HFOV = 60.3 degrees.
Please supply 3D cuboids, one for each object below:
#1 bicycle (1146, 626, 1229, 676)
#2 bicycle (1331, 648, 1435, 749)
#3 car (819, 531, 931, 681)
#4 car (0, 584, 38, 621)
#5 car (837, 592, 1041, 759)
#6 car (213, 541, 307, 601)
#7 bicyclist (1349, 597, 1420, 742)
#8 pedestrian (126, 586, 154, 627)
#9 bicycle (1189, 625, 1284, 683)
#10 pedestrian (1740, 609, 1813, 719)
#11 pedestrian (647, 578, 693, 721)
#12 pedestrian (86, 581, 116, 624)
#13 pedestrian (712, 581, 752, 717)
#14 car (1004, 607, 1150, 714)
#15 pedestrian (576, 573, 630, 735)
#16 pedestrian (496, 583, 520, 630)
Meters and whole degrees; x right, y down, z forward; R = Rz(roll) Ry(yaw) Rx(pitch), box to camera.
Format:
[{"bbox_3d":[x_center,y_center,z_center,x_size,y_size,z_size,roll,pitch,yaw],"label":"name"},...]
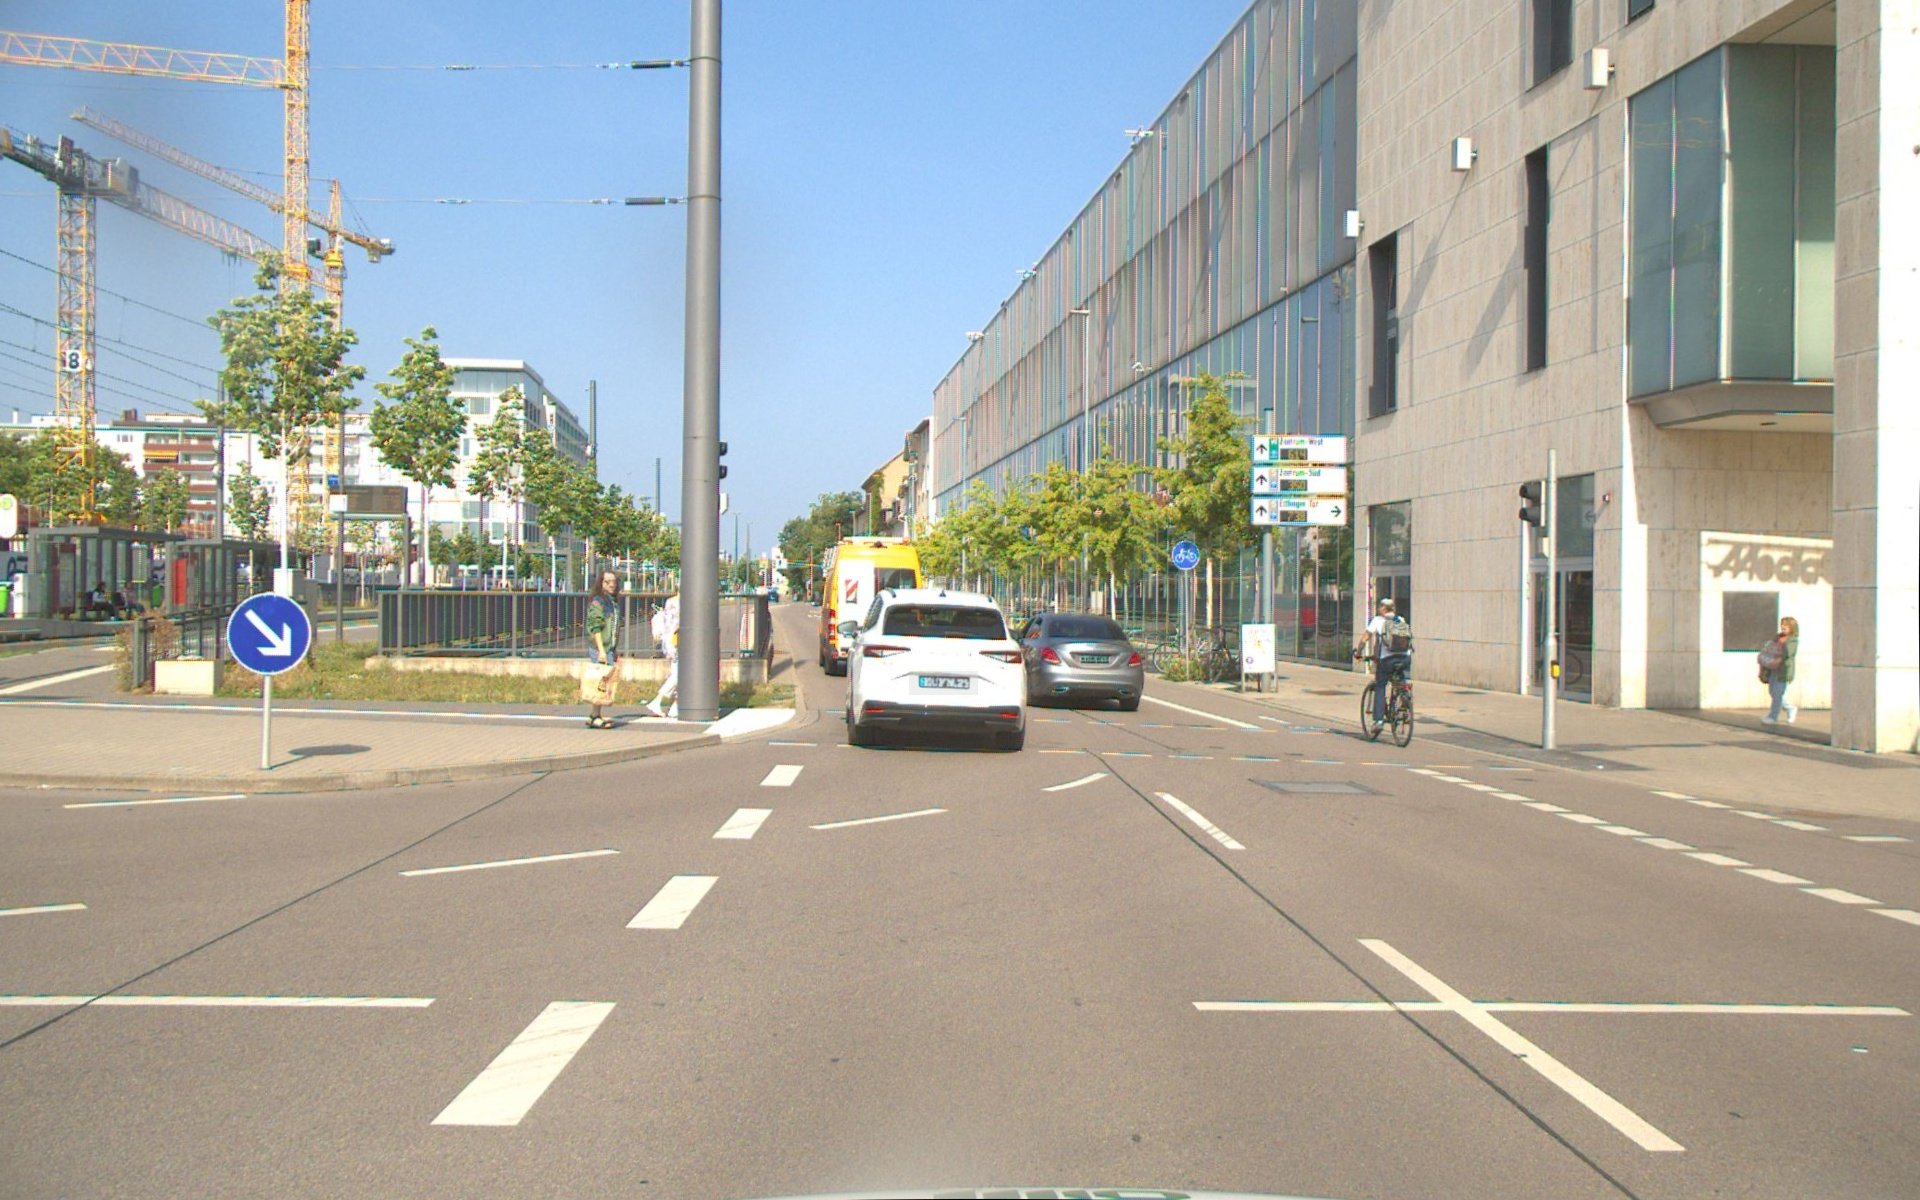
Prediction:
[{"bbox_3d":[5.301,1.178,38.509,1.841,1.129,0.490,1,0,-5],"label":"bicycle"},{"bbox_3d":[5.295,1.210,20.825,0.648,1.137,2.049,0,0,-4],"label":"bicycle"},{"bbox_3d":[-1.846,0.083,34.226,1.981,2.844,5.393,1,1,-6],"label":"car"},{"bbox_3d":[-39.768,0.083,68.462,1.566,1.489,3.429,1,0,-6],"label":"car"},{"bbox_3d":[-0.344,0.722,17.946,1.834,1.602,3.995,1,0,-6],"label":"car"},{"bbox_3d":[-44.111,-1.758,104.518,2.996,3.574,9.219,1,0,-7],"label":"car"},{"bbox_3d":[5.306,0.855,20.703,0.638,1.779,0.769,0,0,-4],"label":"bicyclist"},{"bbox_3d":[-26.782,0.205,54.030,0.668,1.322,0.591,0,0,-10],"label":"pedestrian"},{"bbox_3d":[5.738,1.117,34.360,1.803,1.132,0.686,2,0,-5],"label":"bicycle"},{"bbox_3d":[11.447,0.891,23.188,0.694,1.513,0.604,0,0,-8],"label":"pedestrian"},{"bbox_3d":[-3.470,0.577,19.830,0.458,1.678,0.776,1,0,-7],"label":"pedestrian"},{"bbox_3d":[-26.577,0.074,51.168,0.668,1.322,0.591,0,0,-10],"label":"pedestrian"},{"bbox_3d":[-2.879,0.607,20.938,0.458,1.678,0.776,1,0,-7],"label":"pedestrian"},{"bbox_3d":[1.777,0.904,26.336,1.726,1.461,4.112,2,0,-4],"label":"car"},{"bbox_3d":[-3.793,0.564,17.625,0.458,1.678,0.776,1,0,-7],"label":"pedestrian"},{"bbox_3d":[-16.178,0.224,59.171,0.722,1.647,0.709,1,0,-7],"label":"pedestrian"}]
